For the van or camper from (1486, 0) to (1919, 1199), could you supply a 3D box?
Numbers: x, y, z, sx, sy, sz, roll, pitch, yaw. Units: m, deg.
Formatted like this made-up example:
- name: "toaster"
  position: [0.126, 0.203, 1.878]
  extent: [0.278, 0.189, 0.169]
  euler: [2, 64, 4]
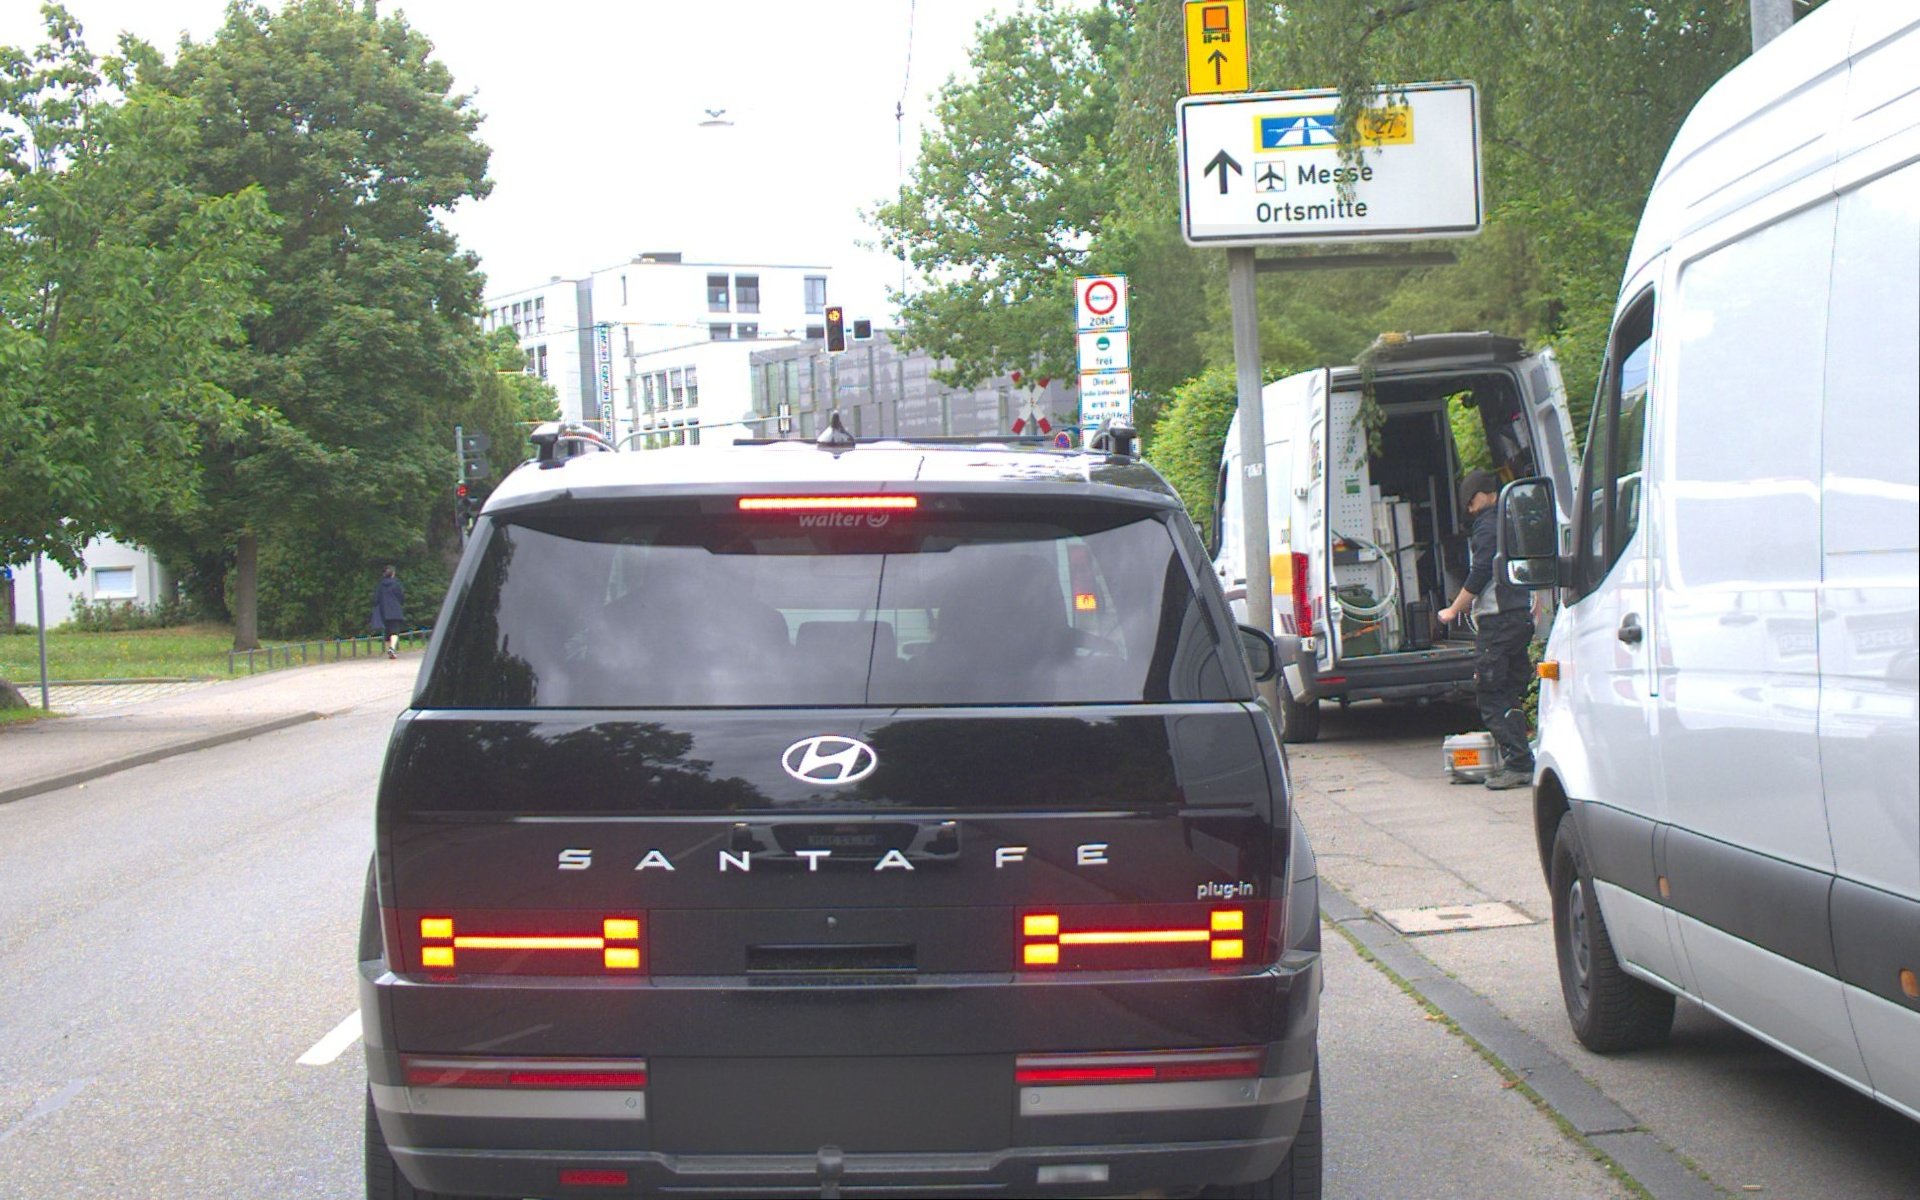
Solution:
- name: "van or camper"
  position: [2.646, -0.051, 7.024]
  extent: [1.993, 2.611, 6.541]
  euler: [-2, 1, -1]

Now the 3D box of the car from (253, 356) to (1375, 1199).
- name: "car"
  position: [-0.267, 0.466, 7.823]
  extent: [1.889, 1.813, 4.000]
  euler: [0, 1, -1]

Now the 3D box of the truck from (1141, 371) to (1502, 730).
- name: "truck"
  position: [2.826, -0.388, 28.144]
  extent: [1.942, 2.553, 5.217]
  euler: [-4, 1, -4]

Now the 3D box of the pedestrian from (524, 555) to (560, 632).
- name: "pedestrian"
  position: [-9.391, -0.149, 77.288]
  extent: [0.738, 1.709, 0.793]
  euler: [-2, 1, -7]

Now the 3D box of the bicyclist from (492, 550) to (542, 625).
- name: "bicyclist"
  position: [-10.038, -0.280, 77.942]
  extent: [0.829, 1.685, 0.717]
  euler: [1, 0, 34]

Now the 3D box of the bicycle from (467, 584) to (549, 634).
- name: "bicycle"
  position: [-10.268, 0.203, 78.078]
  extent: [1.773, 1.089, 0.697]
  euler: [1, 0, 31]

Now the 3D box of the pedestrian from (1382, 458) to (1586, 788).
- name: "pedestrian"
  position: [2.928, 0.123, 19.168]
  extent: [0.871, 1.791, 0.758]
  euler: [-1, 1, 28]

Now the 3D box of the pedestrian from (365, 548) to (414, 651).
- name: "pedestrian"
  position: [-9.747, -0.014, 58.723]
  extent: [0.738, 1.709, 0.793]
  euler: [-2, 1, -7]

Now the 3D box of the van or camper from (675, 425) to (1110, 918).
- name: "van or camper"
  position: [-0.306, 0.269, 16.378]
  extent: [1.754, 2.007, 4.000]
  euler: [-2, 1, -1]
